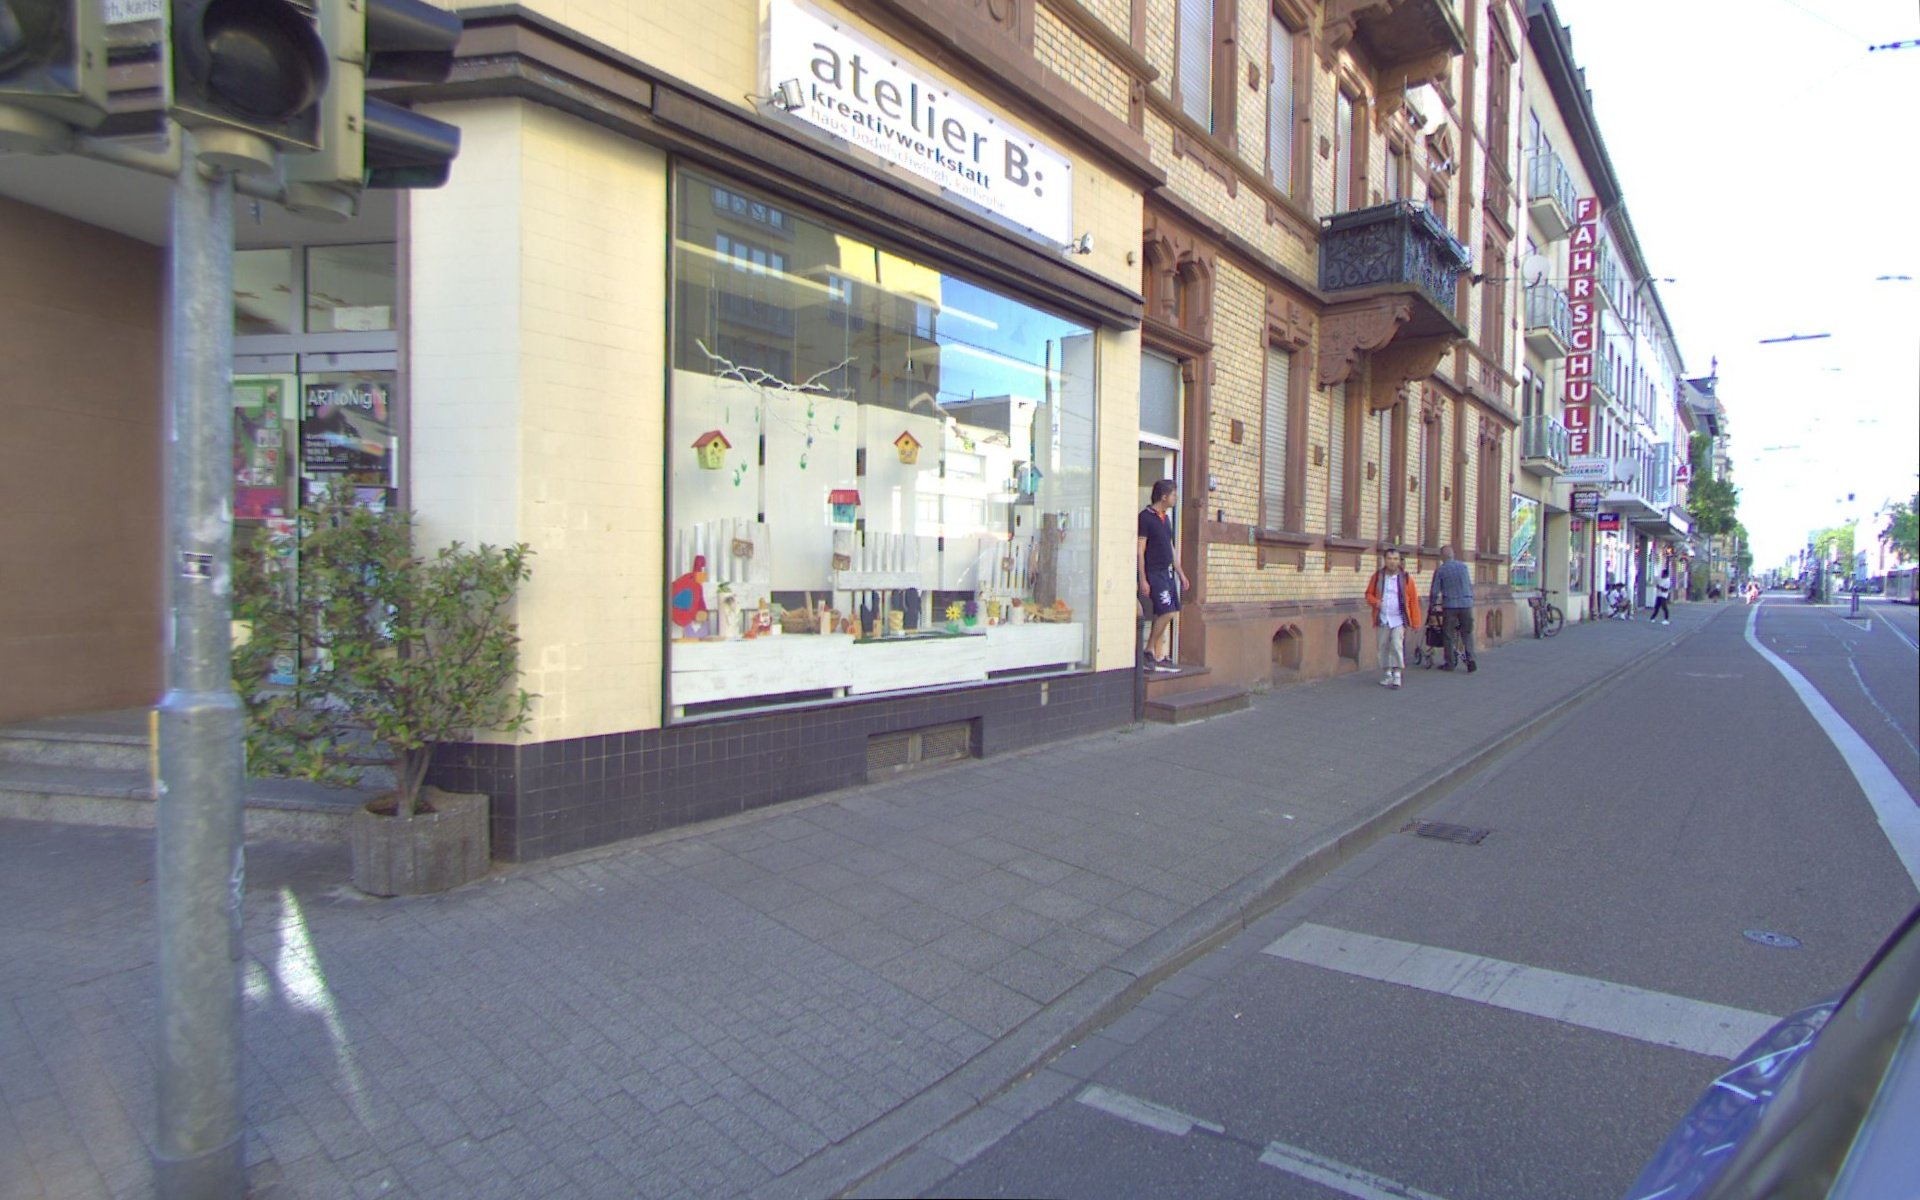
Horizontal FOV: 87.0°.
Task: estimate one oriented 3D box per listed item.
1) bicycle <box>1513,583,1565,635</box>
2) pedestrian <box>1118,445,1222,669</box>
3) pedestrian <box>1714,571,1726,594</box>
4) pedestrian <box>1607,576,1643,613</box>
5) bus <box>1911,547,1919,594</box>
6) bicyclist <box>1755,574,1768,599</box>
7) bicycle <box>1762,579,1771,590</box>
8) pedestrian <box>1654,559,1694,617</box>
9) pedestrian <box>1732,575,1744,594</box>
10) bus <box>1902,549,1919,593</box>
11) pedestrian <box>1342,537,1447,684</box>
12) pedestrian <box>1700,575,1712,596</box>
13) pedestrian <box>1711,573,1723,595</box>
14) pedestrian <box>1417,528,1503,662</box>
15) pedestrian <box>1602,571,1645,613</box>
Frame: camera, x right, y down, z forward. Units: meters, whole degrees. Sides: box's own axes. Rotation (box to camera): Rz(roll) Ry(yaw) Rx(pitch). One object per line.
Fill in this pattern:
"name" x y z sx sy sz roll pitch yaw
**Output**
"bicycle" 12.908 0.170 22.530 0.554 1.073 2.278 5 4 39
"pedestrian" 1.895 -0.389 9.149 0.514 1.928 0.586 8 5 40
"pedestrian" 58.504 -1.366 77.880 0.649 1.793 0.685 2 2 44
"pedestrian" 23.120 -0.207 35.215 0.699 1.188 1.010 7 5 20
"bus" 75.924 -2.269 78.151 2.808 3.611 13.481 2 2 40
"bicyclist" 54.164 -0.920 68.402 0.674 1.634 0.826 1 1 38
"bicycle" 84.732 -1.651 106.327 0.679 1.185 1.807 1 2 38
"pedestrian" 23.970 -0.403 33.989 0.666 1.833 0.708 2 5 -35
"pedestrian" 72.857 -1.449 94.753 0.804 1.822 0.750 2 2 40
"bus" 84.419 -2.472 88.183 2.809 3.611 13.478 2 2 41
"pedestrian" 5.274 0.117 12.289 0.798 1.646 0.813 9 5 40
"pedestrian" 58.361 -1.160 79.201 0.646 1.598 0.675 2 2 33
"pedestrian" 58.947 -1.245 78.796 0.647 1.737 0.796 2 2 35
"pedestrian" 7.186 -0.088 14.544 0.805 1.821 0.751 7 4 39
"pedestrian" 22.514 -0.275 34.360 0.816 1.270 0.707 6 5 5
